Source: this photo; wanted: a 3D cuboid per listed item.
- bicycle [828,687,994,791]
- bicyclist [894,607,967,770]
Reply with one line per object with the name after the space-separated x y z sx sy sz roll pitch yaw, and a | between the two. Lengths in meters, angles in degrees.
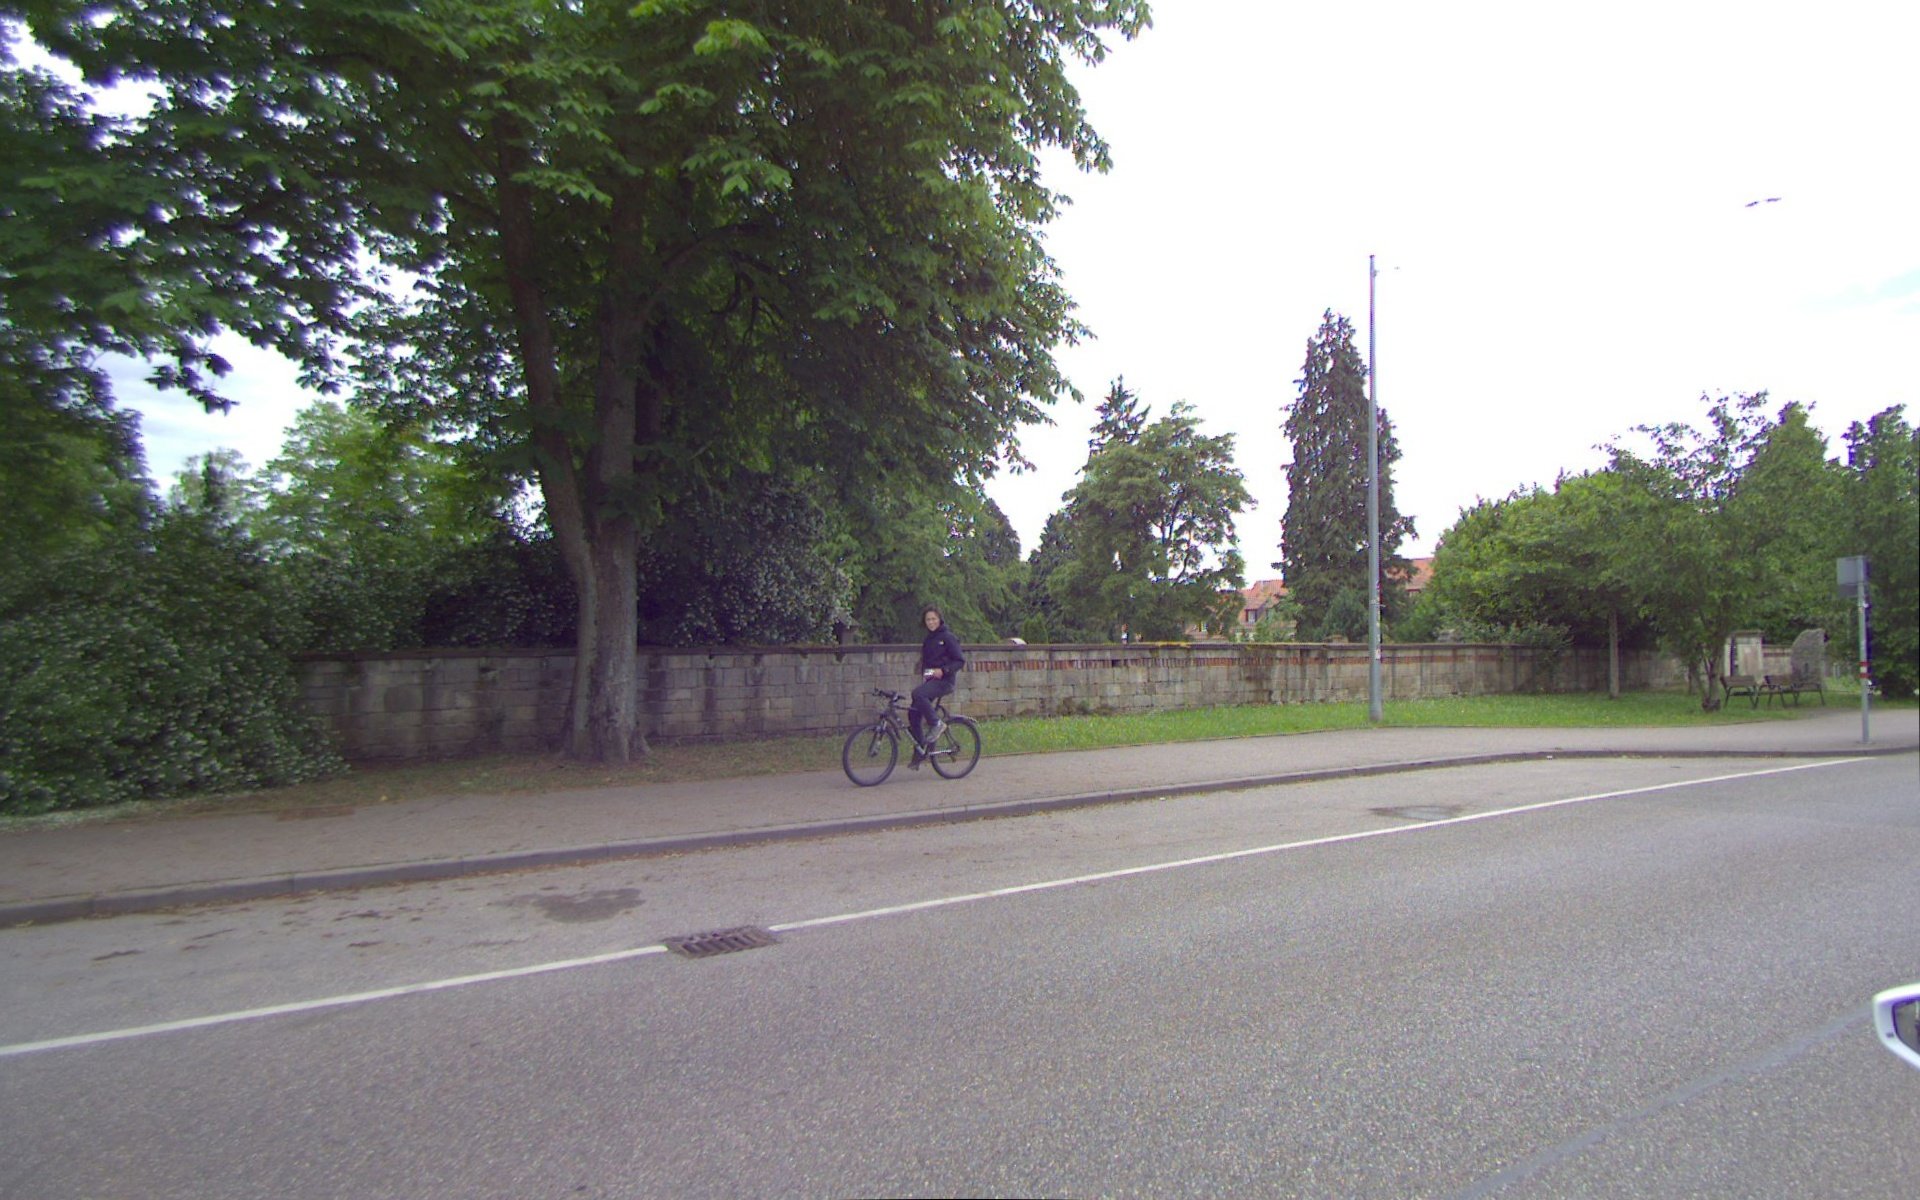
-0.509 1.460 10.798 1.728 0.977 0.493 2 0 -31 | bicycle
-0.322 0.936 10.899 0.581 1.706 0.485 2 0 -30 | bicyclist
